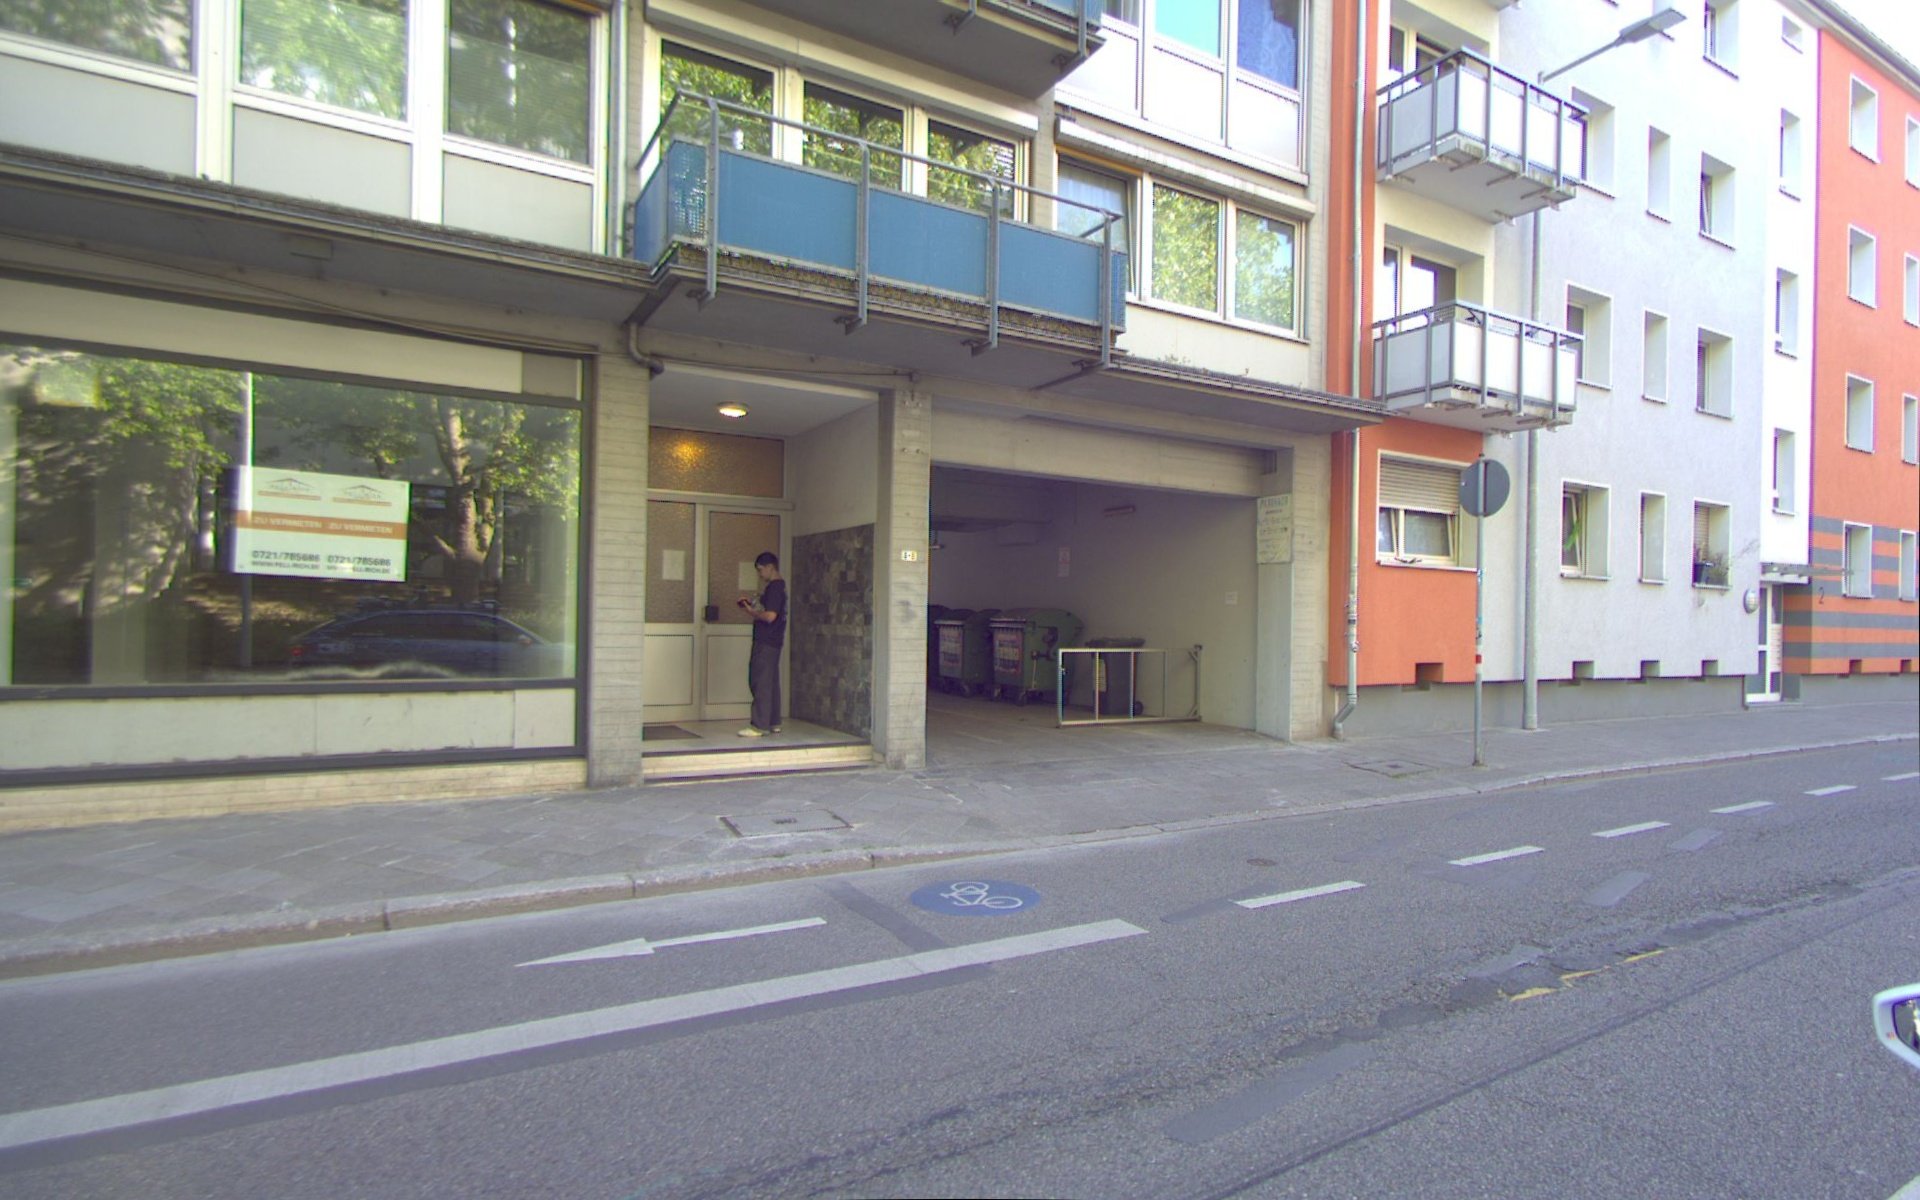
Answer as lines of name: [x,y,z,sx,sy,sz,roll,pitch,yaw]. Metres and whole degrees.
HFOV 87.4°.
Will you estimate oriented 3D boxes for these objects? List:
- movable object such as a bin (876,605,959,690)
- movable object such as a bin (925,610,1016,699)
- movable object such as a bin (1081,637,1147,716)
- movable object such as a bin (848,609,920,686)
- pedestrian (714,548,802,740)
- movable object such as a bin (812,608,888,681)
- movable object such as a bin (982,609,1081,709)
movable object such as a bin: [-0.787,0.838,18.228,1.011,1.462,1.318,1,0,-29]
movable object such as a bin: [0.162,0.880,16.718,1.011,1.409,1.319,1,0,-27]
movable object such as a bin: [2.155,1.057,14.066,0.704,1.054,0.583,1,0,-30]
movable object such as a bin: [-1.466,0.890,19.255,1.012,1.409,1.046,1,0,-31]
pedestrian: [-1.929,0.408,9.629,0.518,1.764,0.630,1,0,27]
movable object such as a bin: [-2.226,0.875,20.230,1.014,1.409,1.264,1,0,-37]
movable object such as a bin: [1.078,0.873,15.398,1.009,1.438,1.321,1,0,-23]
